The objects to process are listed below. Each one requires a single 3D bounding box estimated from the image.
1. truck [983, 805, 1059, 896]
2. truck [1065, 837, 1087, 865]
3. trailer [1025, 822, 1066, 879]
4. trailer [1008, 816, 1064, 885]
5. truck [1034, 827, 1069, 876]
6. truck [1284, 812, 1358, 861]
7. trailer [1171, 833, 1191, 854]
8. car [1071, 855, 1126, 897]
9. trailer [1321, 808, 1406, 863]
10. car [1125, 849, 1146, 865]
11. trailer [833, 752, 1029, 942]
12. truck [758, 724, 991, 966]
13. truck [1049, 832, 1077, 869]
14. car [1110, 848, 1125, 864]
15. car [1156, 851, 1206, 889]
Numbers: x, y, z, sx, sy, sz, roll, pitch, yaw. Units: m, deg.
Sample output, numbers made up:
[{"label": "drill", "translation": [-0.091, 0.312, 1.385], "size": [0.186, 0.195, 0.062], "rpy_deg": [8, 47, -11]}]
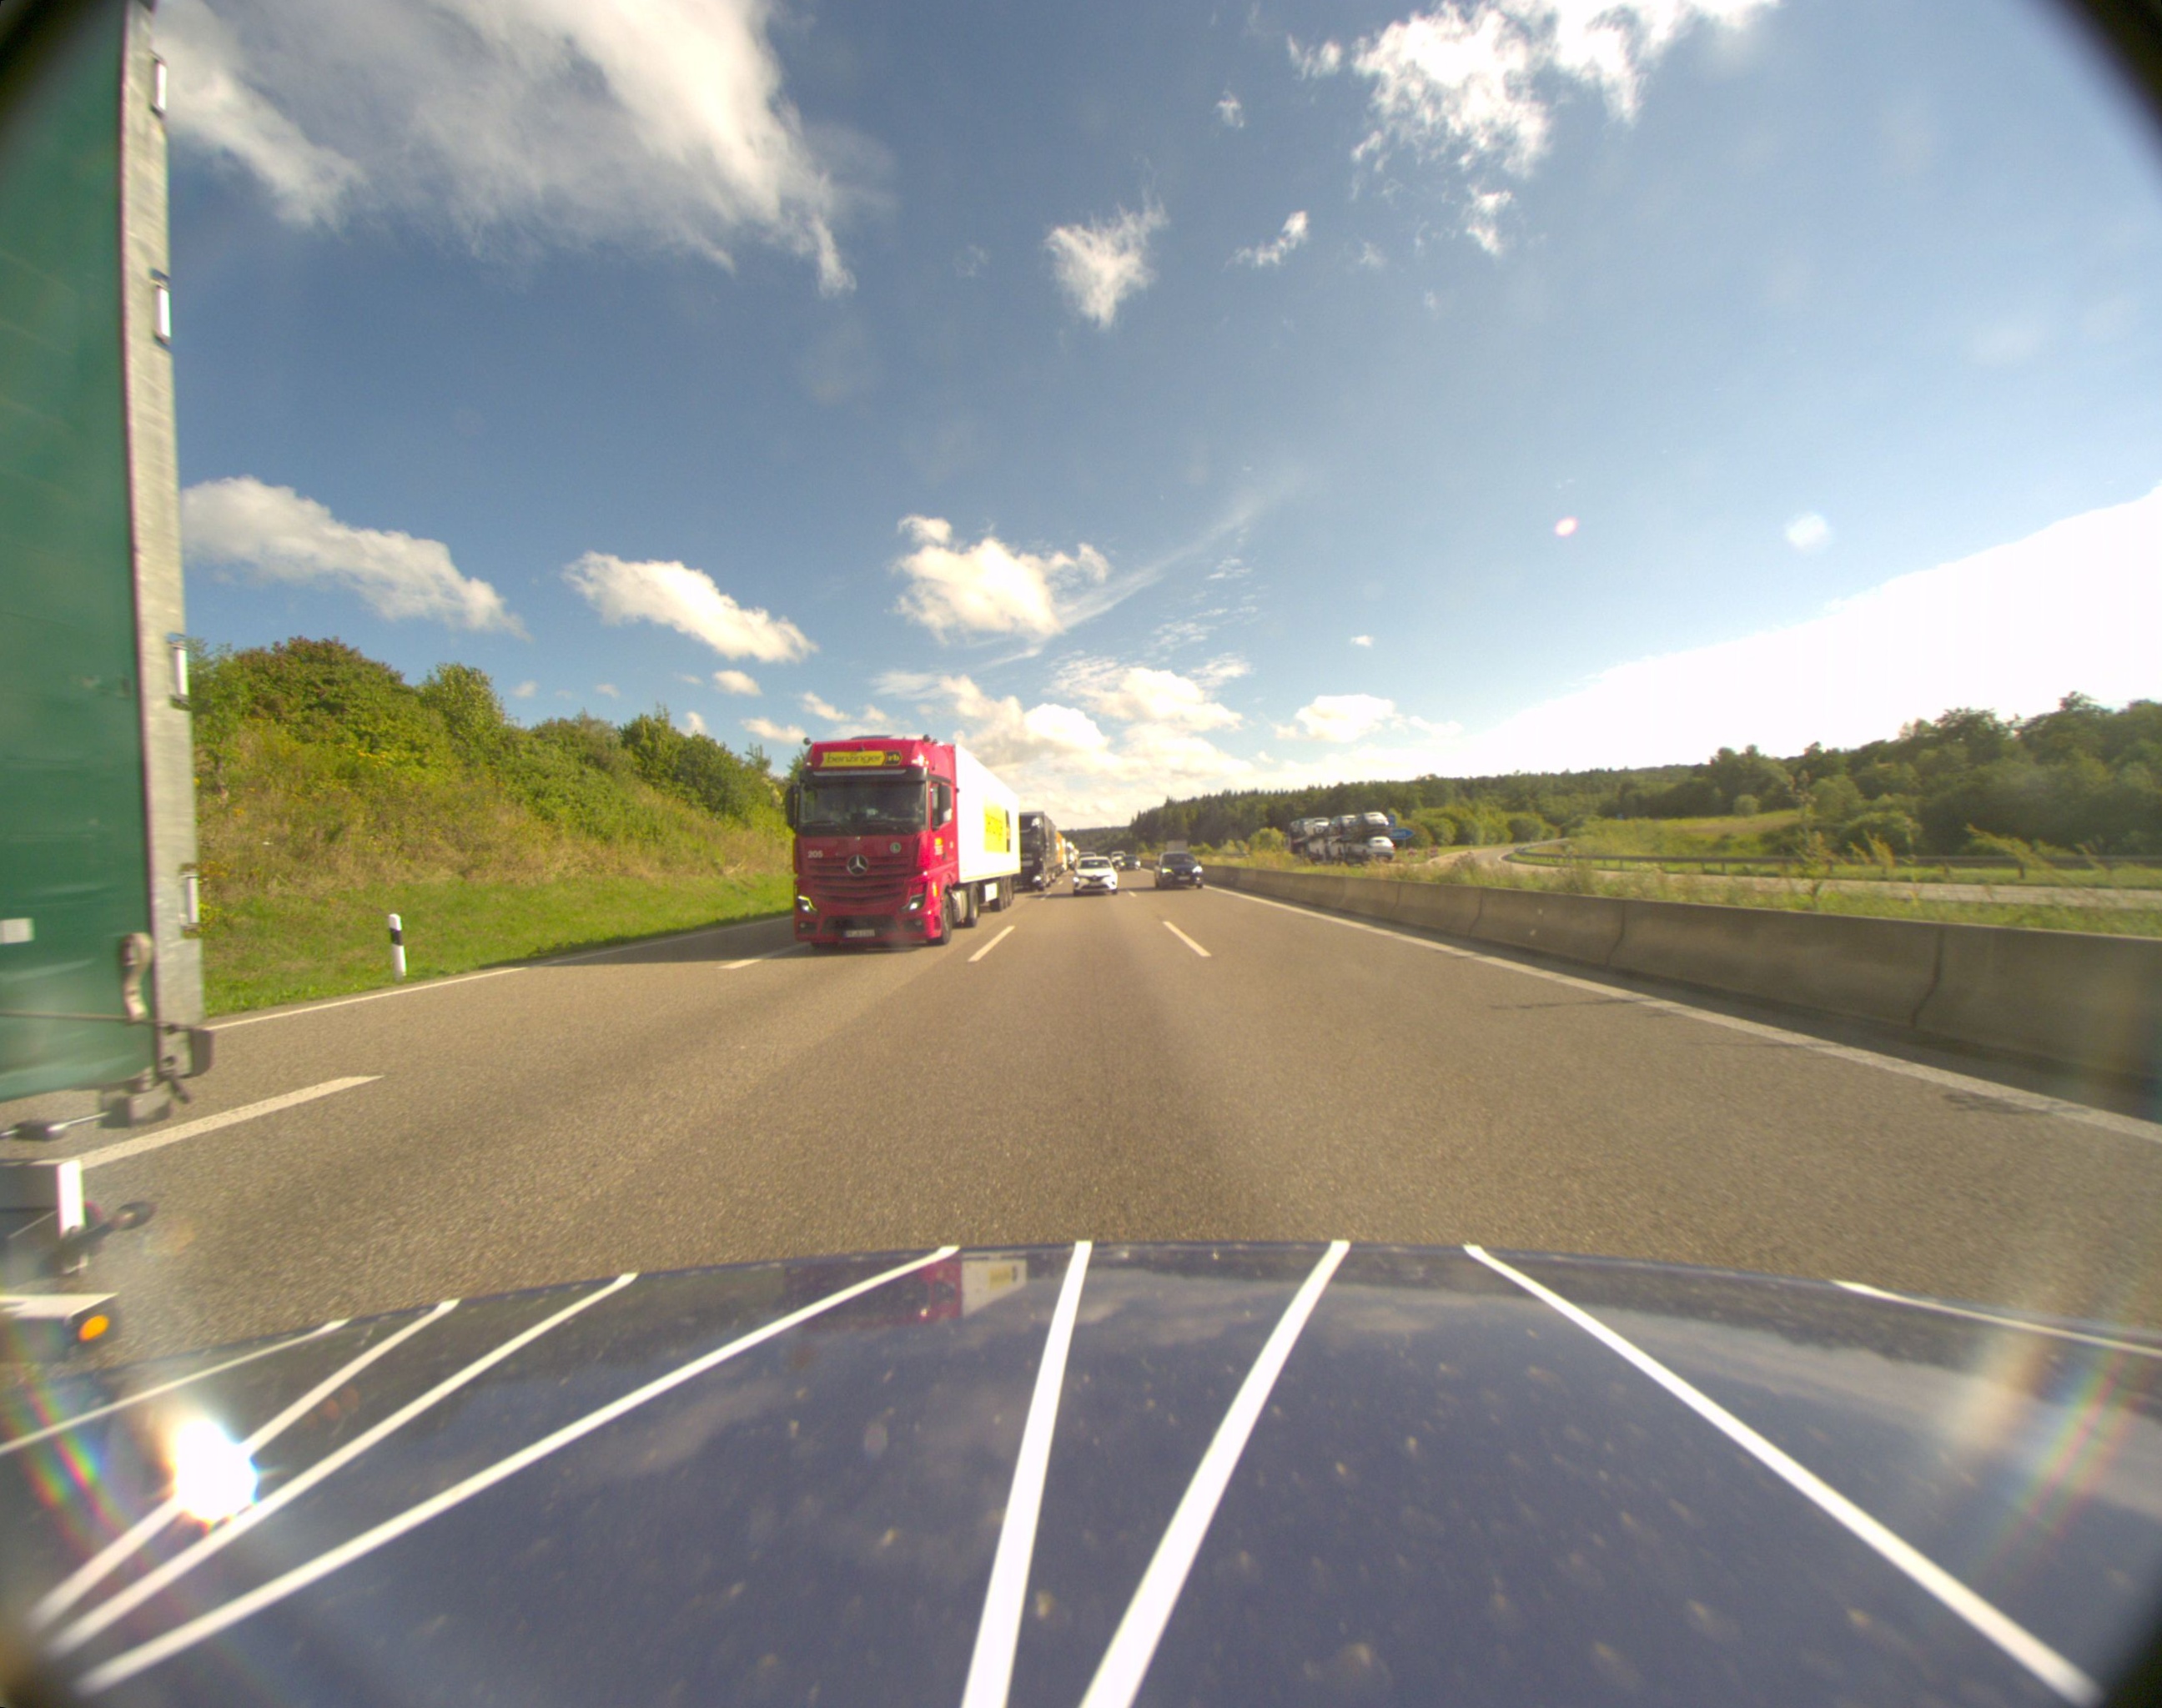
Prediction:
[{"label": "truck", "translation": [-2.957, -0.207, 40.701], "size": [2.747, 4.015, 10.202], "rpy_deg": [-5, 1, 1]}, {"label": "truck", "translation": [-0.752, -0.383, 115.637], "size": [2.655, 3.902, 6.943], "rpy_deg": [-5, 0, 2]}, {"label": "trailer", "translation": [-2.732, -0.242, 61.103], "size": [2.418, 4.045, 8.926], "rpy_deg": [-5, 0, 1]}, {"label": "trailer", "translation": [-2.833, -0.207, 50.176], "size": [2.722, 3.937, 8.711], "rpy_deg": [-5, 0, 1]}, {"label": "truck", "translation": [-2.637, -0.256, 70.407], "size": [2.418, 4.045, 9.664], "rpy_deg": [-5, 0, 1]}, {"label": "truck", "translation": [20.043, -1.385, 64.309], "size": [2.838, 3.667, 11.131], "rpy_deg": [-2, 1, 1]}, {"label": "trailer", "translation": [21.170, -2.189, 161.166], "size": [2.839, 3.969, 13.549], "rpy_deg": [-3, 1, 2]}, {"label": "car", "translation": [0.764, 0.844, 31.498], "size": [2.026, 1.511, 5.299], "rpy_deg": [-3, 0, 2]}, {"label": "trailer", "translation": [19.888, -1.239, 54.214], "size": [2.806, 3.508, 8.953], "rpy_deg": [-2, 1, 1]}, {"label": "car", "translation": [5.214, 0.283, 72.929], "size": [1.779, 1.451, 4.158], "rpy_deg": [-2, 1, 1]}, {"label": "trailer", "translation": [-3.651, -0.211, 22.777], "size": [2.798, 3.916, 13.069], "rpy_deg": [-3, 1, 1]}, {"label": "truck", "translation": [-3.809, -0.167, 15.630], "size": [2.808, 3.916, 5.825], "rpy_deg": [-3, 1, 2]}, {"label": "truck", "translation": [-2.077, -0.428, 92.361], "size": [2.654, 4.066, 6.491], "rpy_deg": [-5, 1, 2]}, {"label": "car", "translation": [4.777, 0.259, 99.093], "size": [1.779, 1.923, 4.214], "rpy_deg": [-2, 0, 1]}, {"label": "car", "translation": [4.411, 0.653, 34.102], "size": [1.779, 1.533, 4.158], "rpy_deg": [-2, 1, 1]}]
